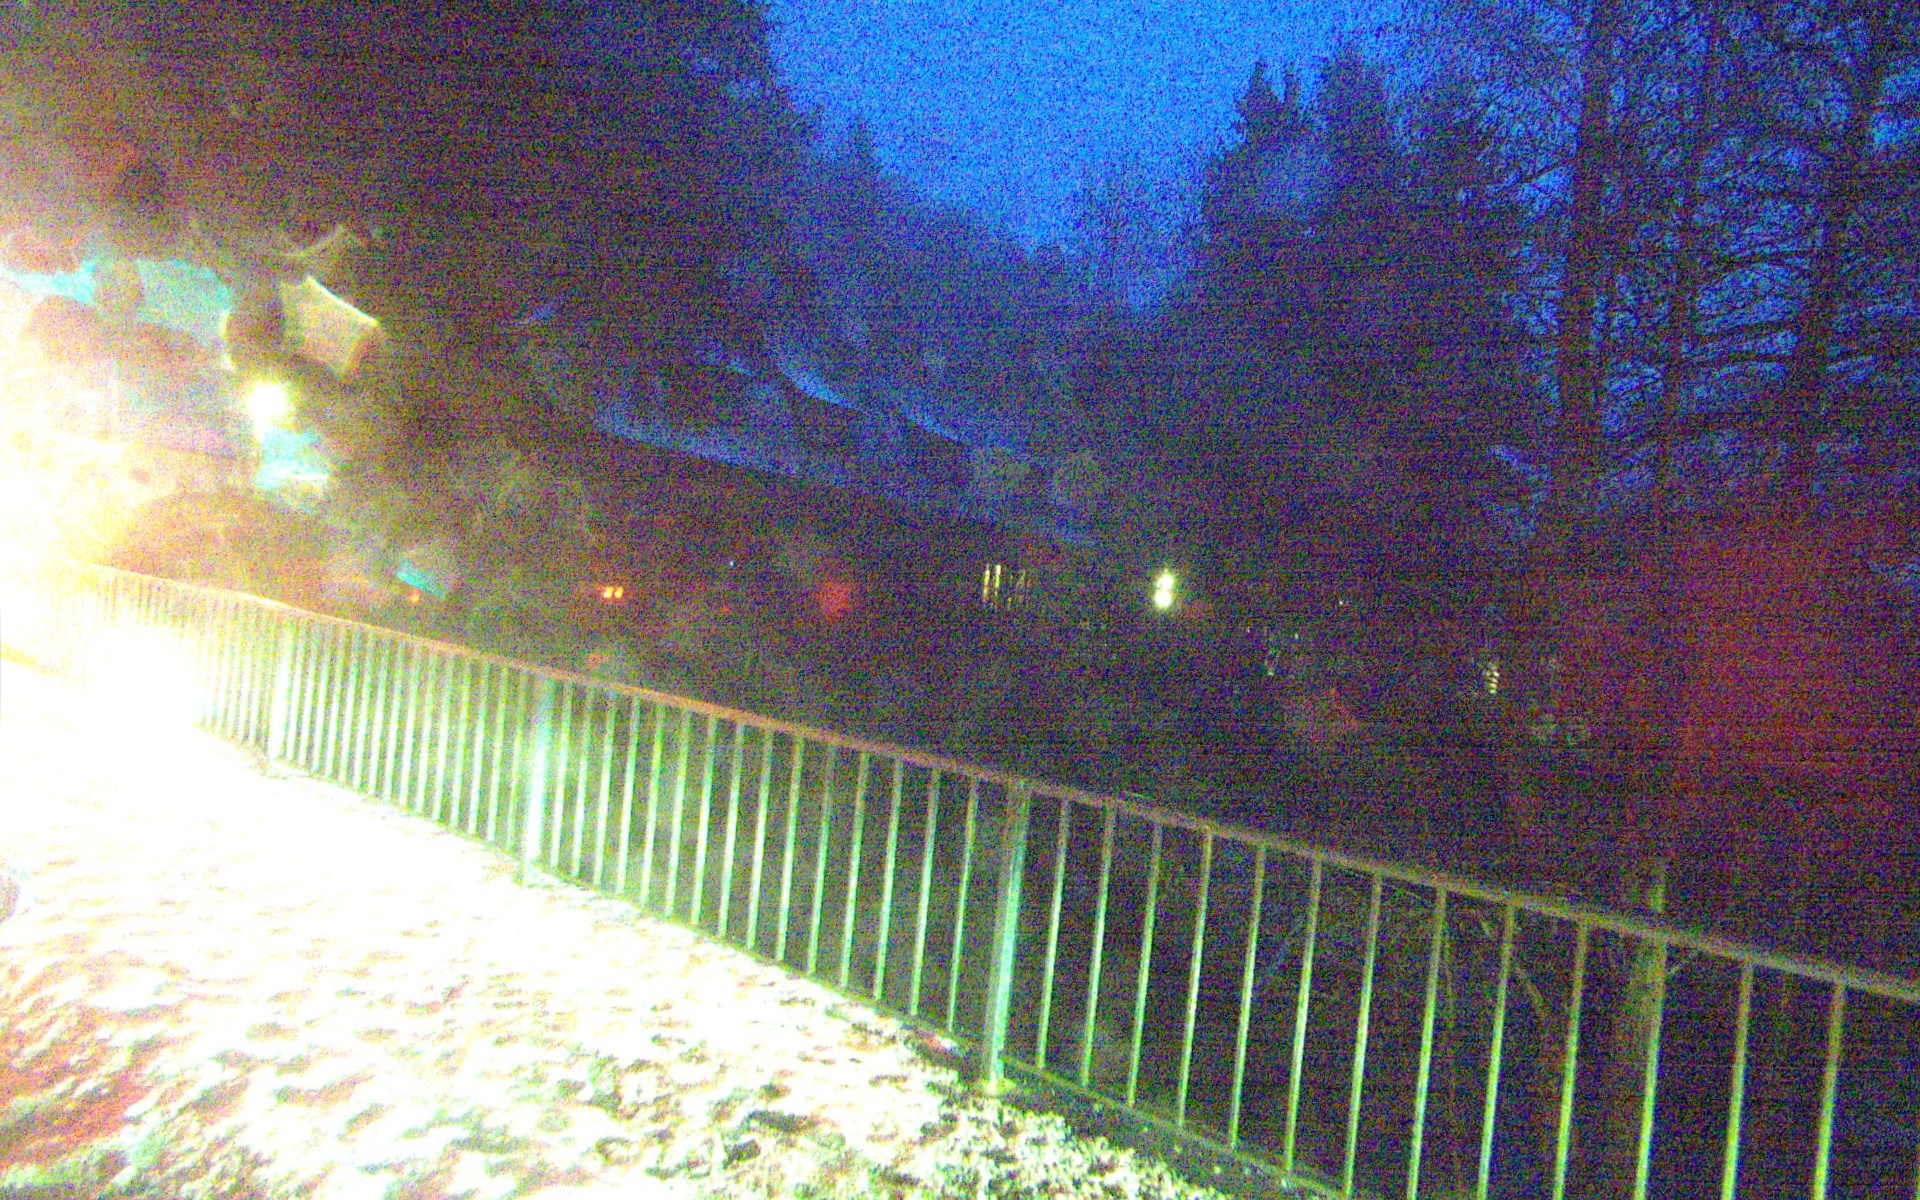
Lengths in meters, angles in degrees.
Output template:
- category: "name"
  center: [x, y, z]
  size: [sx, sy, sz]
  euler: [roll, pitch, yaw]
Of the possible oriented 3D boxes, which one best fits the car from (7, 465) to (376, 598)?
- category: "car"
  center: [-12.251, -1.039, 16.265]
  size: [1.913, 1.607, 4.455]
  euler: [8, 3, 43]
